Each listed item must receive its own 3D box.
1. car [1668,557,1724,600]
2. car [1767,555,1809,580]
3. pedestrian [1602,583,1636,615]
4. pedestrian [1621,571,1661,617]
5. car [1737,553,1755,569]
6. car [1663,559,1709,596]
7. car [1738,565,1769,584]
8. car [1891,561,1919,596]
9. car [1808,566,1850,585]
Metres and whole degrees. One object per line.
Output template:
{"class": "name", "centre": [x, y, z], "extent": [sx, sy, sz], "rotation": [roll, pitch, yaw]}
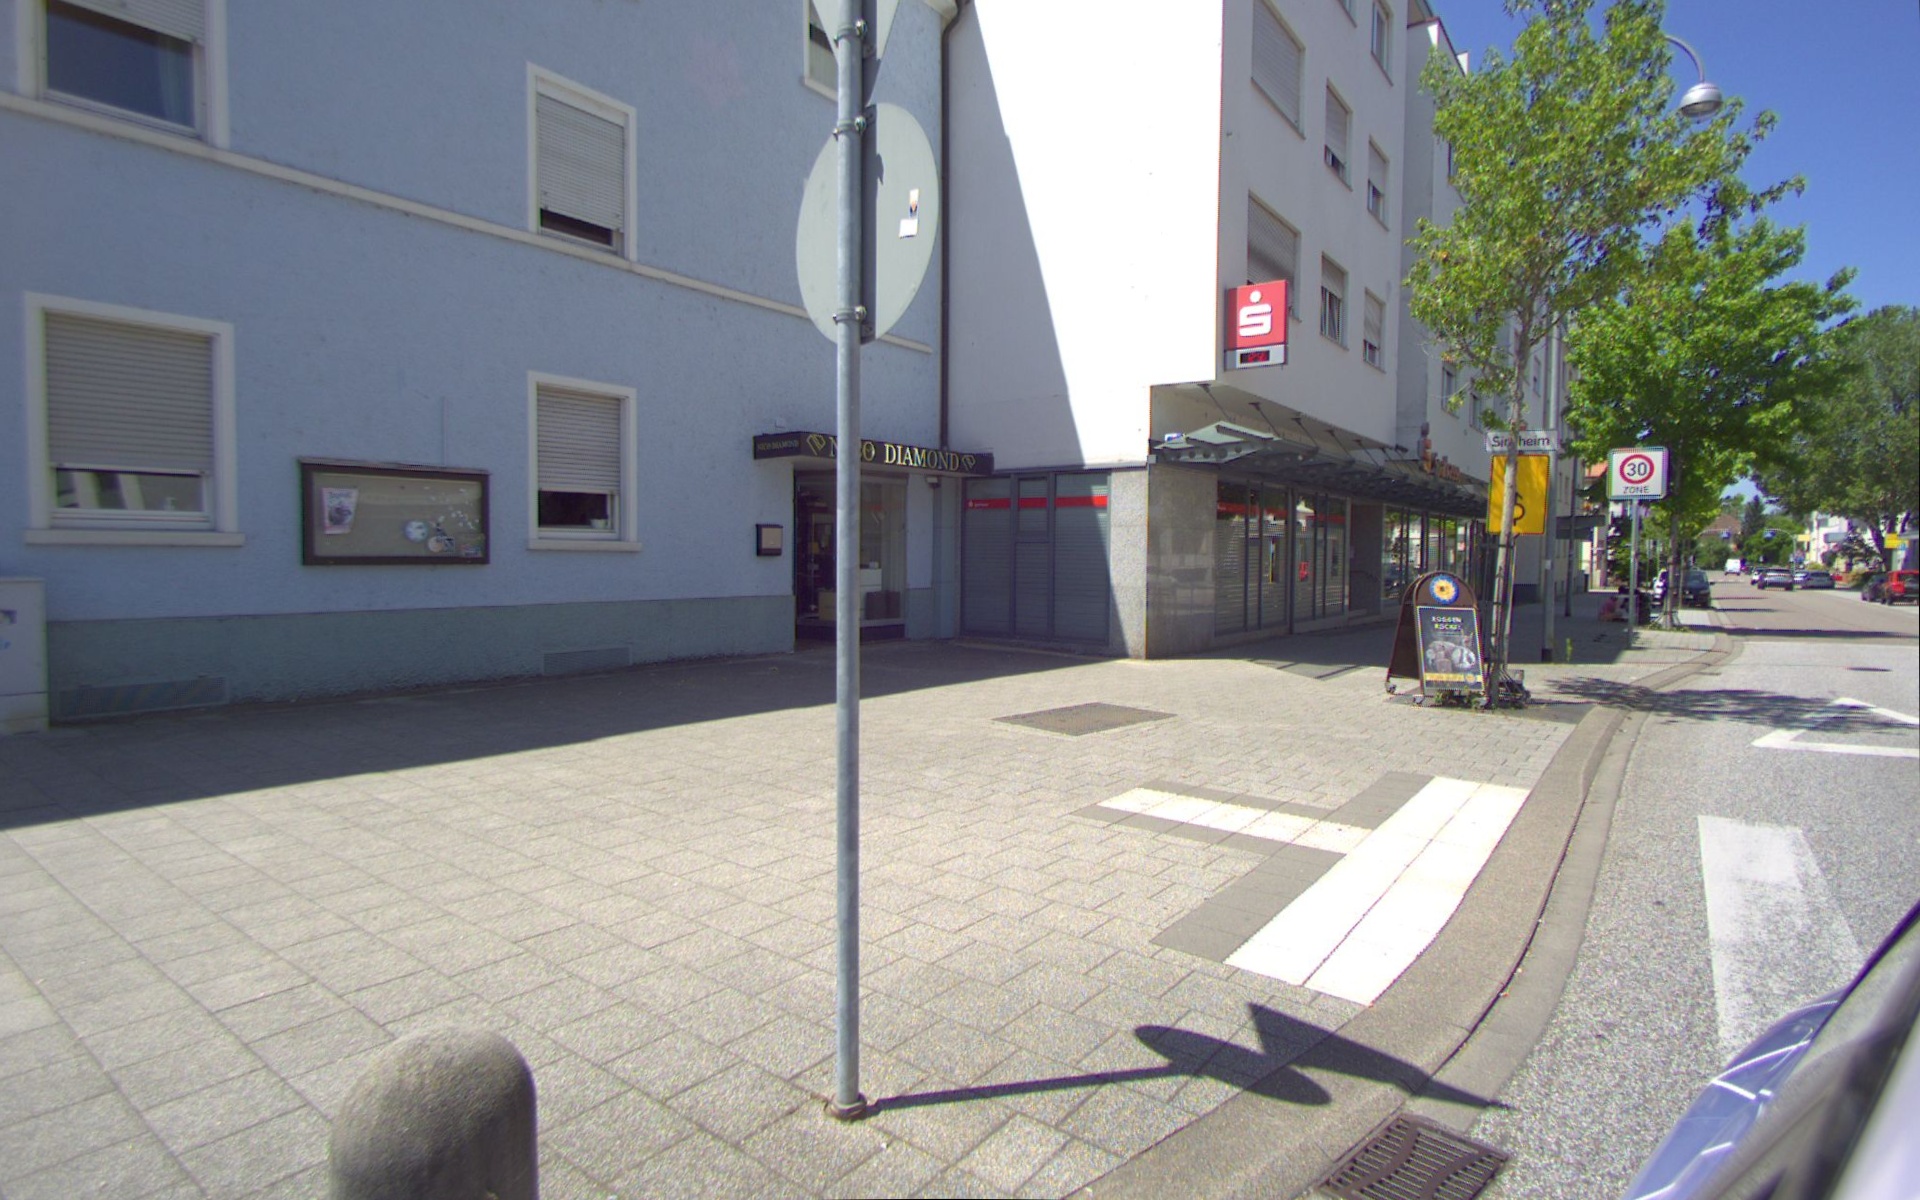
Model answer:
{"class": "car", "centre": [32.555, -0.996, 44.836], "extent": [1.683, 1.742, 3.953], "rotation": [5, 4, 33]}
{"class": "car", "centre": [63.043, -2.482, 77.119], "extent": [1.894, 1.775, 4.700], "rotation": [3, 3, 34]}
{"class": "pedestrian", "centre": [18.919, -0.037, 29.053], "extent": [0.528, 0.862, 0.679], "rotation": [-1, 4, -39]}
{"class": "pedestrian", "centre": [19.024, -0.175, 28.289], "extent": [0.528, 1.255, 0.762], "rotation": [-1, 3, -38]}
{"class": "car", "centre": [131.021, -6.478, 168.729], "extent": [2.221, 2.496, 5.179], "rotation": [2, 3, 37]}
{"class": "car", "centre": [35.589, -1.136, 49.695], "extent": [1.683, 1.743, 4.084], "rotation": [2, 3, 34]}
{"class": "car", "centre": [75.354, -2.439, 96.166], "extent": [1.763, 1.653, 4.254], "rotation": [1, 3, 31]}
{"class": "car", "centre": [46.806, -1.084, 49.425], "extent": [1.636, 1.682, 3.326], "rotation": [0, 1, 37]}
{"class": "car", "centre": [70.374, -2.024, 81.979], "extent": [1.985, 1.437, 3.955], "rotation": [2, 3, 32]}
